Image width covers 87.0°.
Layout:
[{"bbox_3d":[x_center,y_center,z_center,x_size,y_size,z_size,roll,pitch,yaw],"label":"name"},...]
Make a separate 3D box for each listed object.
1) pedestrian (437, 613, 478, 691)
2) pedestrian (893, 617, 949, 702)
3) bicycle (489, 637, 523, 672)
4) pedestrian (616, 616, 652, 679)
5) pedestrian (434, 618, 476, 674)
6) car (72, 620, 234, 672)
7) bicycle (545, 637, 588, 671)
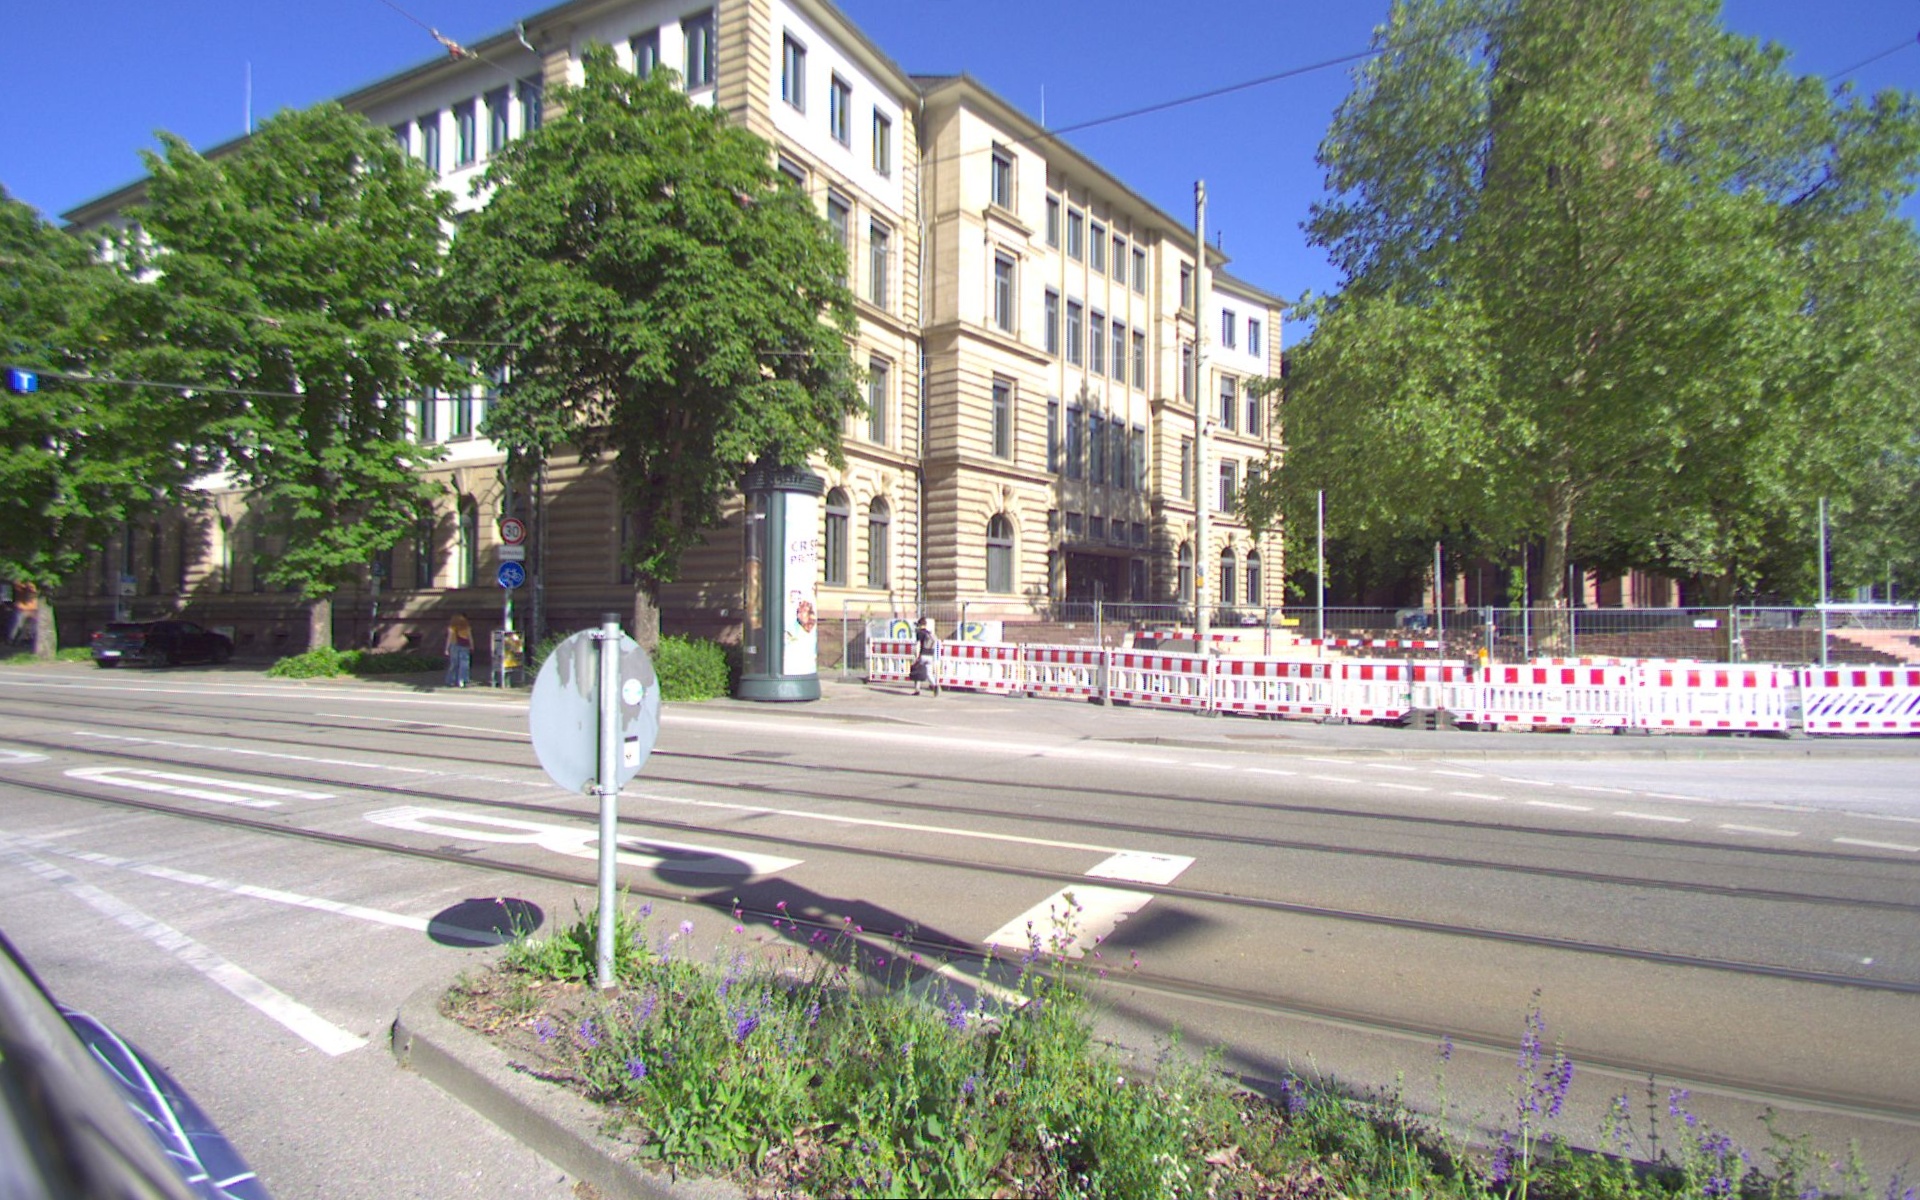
[{"bbox_3d":[-11.300,1.183,22.765,0.758,1.682,1.037,1,-6,-30],"label":"pedestrian"},{"bbox_3d":[-0.805,1.209,20.987,0.845,1.682,0.720,2,-1,39],"label":"pedestrian"},{"bbox_3d":[-13.152,1.574,29.308,1.098,0.963,0.340,0,0,31],"label":"bicycle"},{"bbox_3d":[-8.273,1.190,25.679,0.651,1.574,0.573,-1,-2,29],"label":"pedestrian"},{"bbox_3d":[-15.004,1.350,30.089,0.671,1.578,0.849,0,2,33],"label":"pedestrian"},{"bbox_3d":[-25.969,1.457,32.777,1.895,1.586,4.108,0,-2,1],"label":"car"},{"bbox_3d":[-11.246,1.539,28.884,1.356,0.910,0.394,0,0,31],"label":"bicycle"}]
